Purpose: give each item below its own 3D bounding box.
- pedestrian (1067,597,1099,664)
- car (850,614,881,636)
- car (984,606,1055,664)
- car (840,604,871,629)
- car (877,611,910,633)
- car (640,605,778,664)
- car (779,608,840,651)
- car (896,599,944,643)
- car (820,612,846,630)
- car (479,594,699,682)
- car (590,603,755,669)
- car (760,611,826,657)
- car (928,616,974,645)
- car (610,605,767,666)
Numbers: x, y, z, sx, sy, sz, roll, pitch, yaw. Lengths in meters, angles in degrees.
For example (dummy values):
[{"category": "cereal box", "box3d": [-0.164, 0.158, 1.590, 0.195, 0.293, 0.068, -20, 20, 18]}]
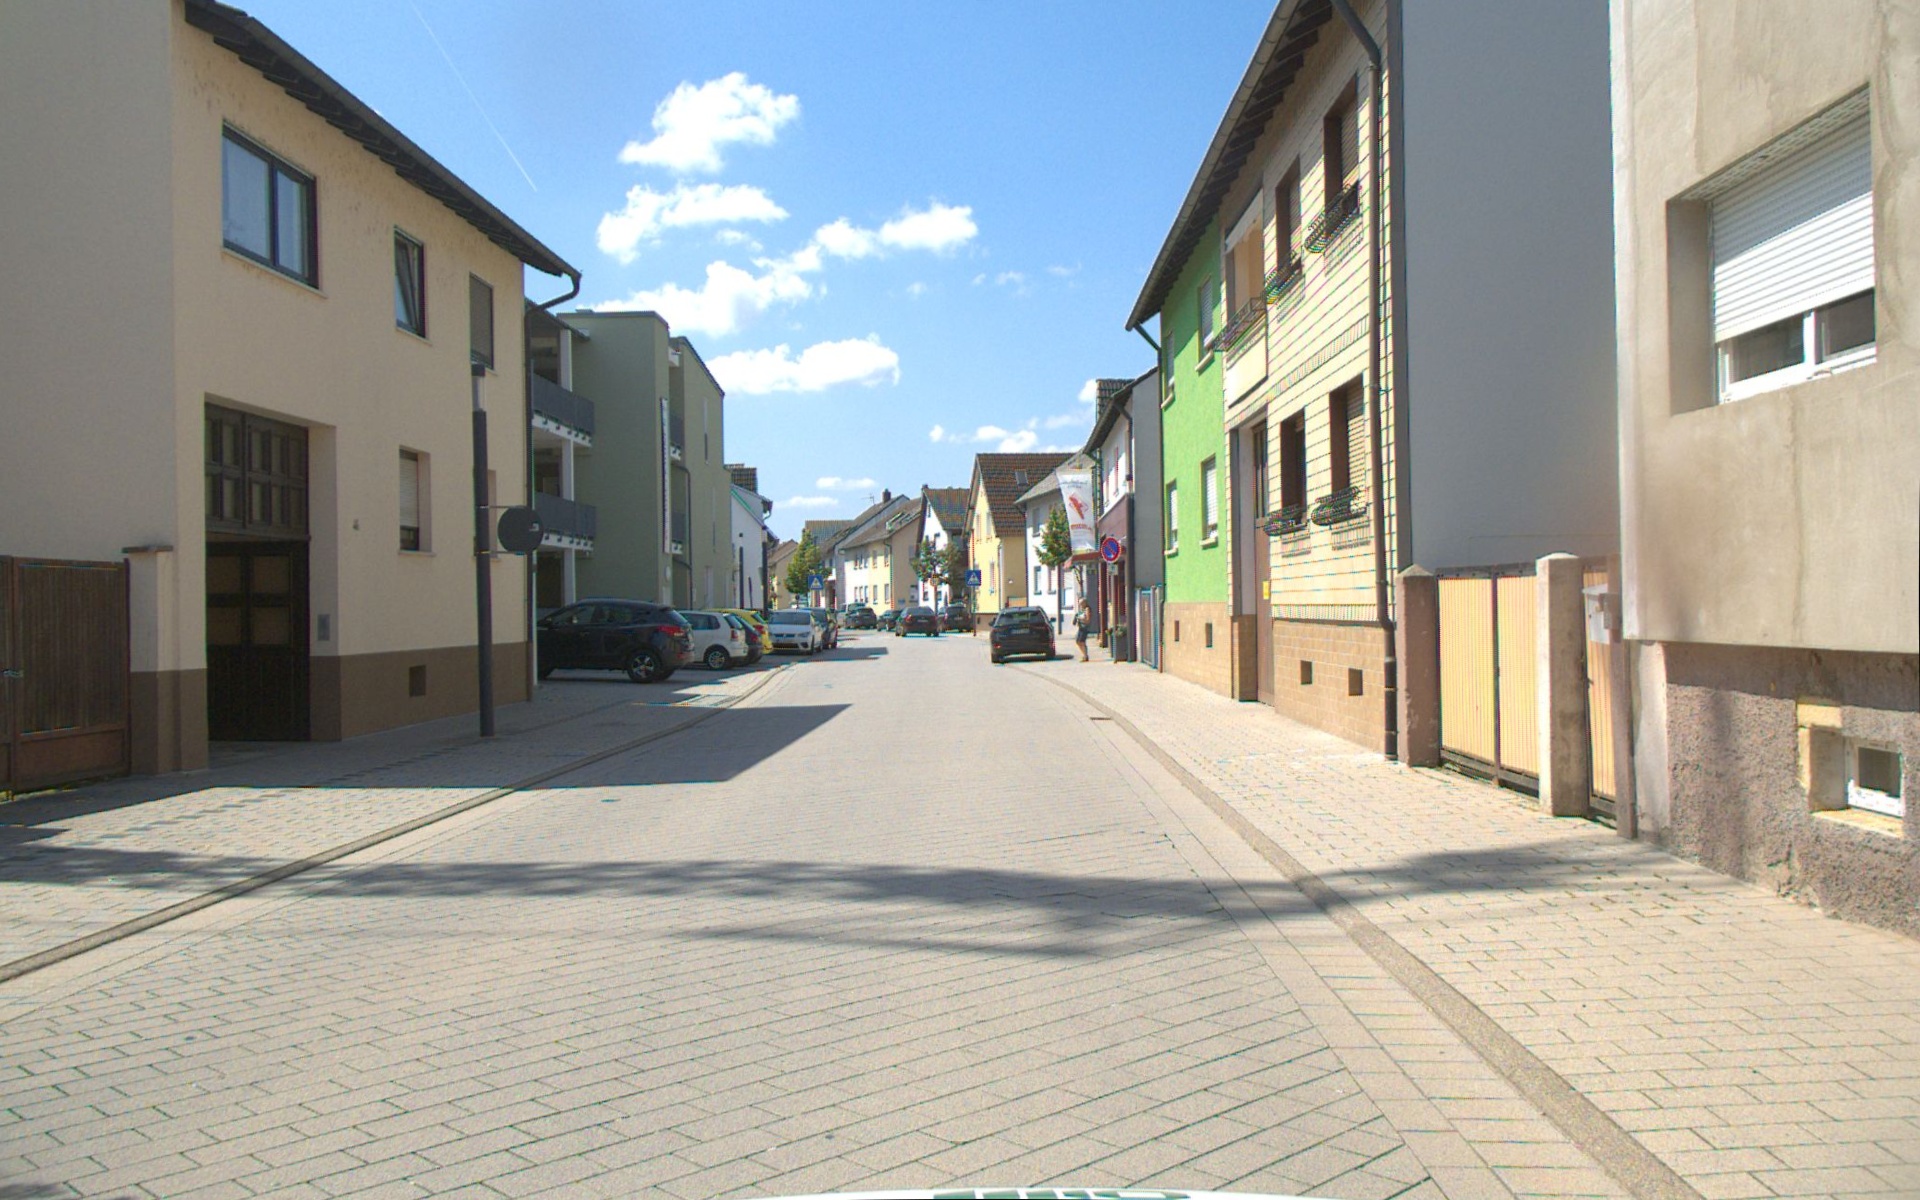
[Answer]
[{"category": "pedestrian", "box3d": [3.132, 0.776, 42.231, 0.714, 1.668, 0.749, -4, -1, 4]}, {"category": "car", "box3d": [-7.124, 1.866, 124.276, 1.844, 1.619, 3.989, -1, 0, -11]}, {"category": "car", "box3d": [1.722, 0.952, 46.556, 1.819, 1.484, 4.588, -3, -1, 4]}, {"category": "car", "box3d": [-8.196, 1.322, 129.619, 1.872, 1.904, 3.989, -1, 0, -11]}, {"category": "car", "box3d": [-4.445, 1.439, 110.412, 1.680, 1.411, 3.696, -1, 0, -11]}, {"category": "car", "box3d": [-7.180, 0.971, 47.545, 3.615, 1.552, 1.673, 2, 0, 2]}, {"category": "car", "box3d": [-5.568, 1.080, 61.692, 1.776, 1.516, 4.277, 1, 0, 1]}, {"category": "car", "box3d": [-2.004, 1.046, 82.009, 1.956, 2.094, 4.367, -1, 0, -7]}, {"category": "car", "box3d": [-10.640, 1.753, 138.583, 1.723, 1.519, 3.989, -1, 0, -11]}, {"category": "car", "box3d": [-7.684, 0.775, 34.519, 4.132, 1.687, 1.784, 2, -1, 0]}, {"category": "car", "box3d": [-7.311, 0.901, 42.334, 3.820, 1.529, 1.751, 2, 0, 2]}, {"category": "car", "box3d": [-5.602, 1.120, 55.782, 1.721, 1.435, 3.878, 1, 0, 1]}, {"category": "car", "box3d": [-0.540, 1.714, 93.685, 1.796, 1.497, 4.264, -3, -1, -11]}, {"category": "car", "box3d": [-7.300, 0.960, 44.705, 3.905, 1.467, 1.691, 2, -1, 1]}]
